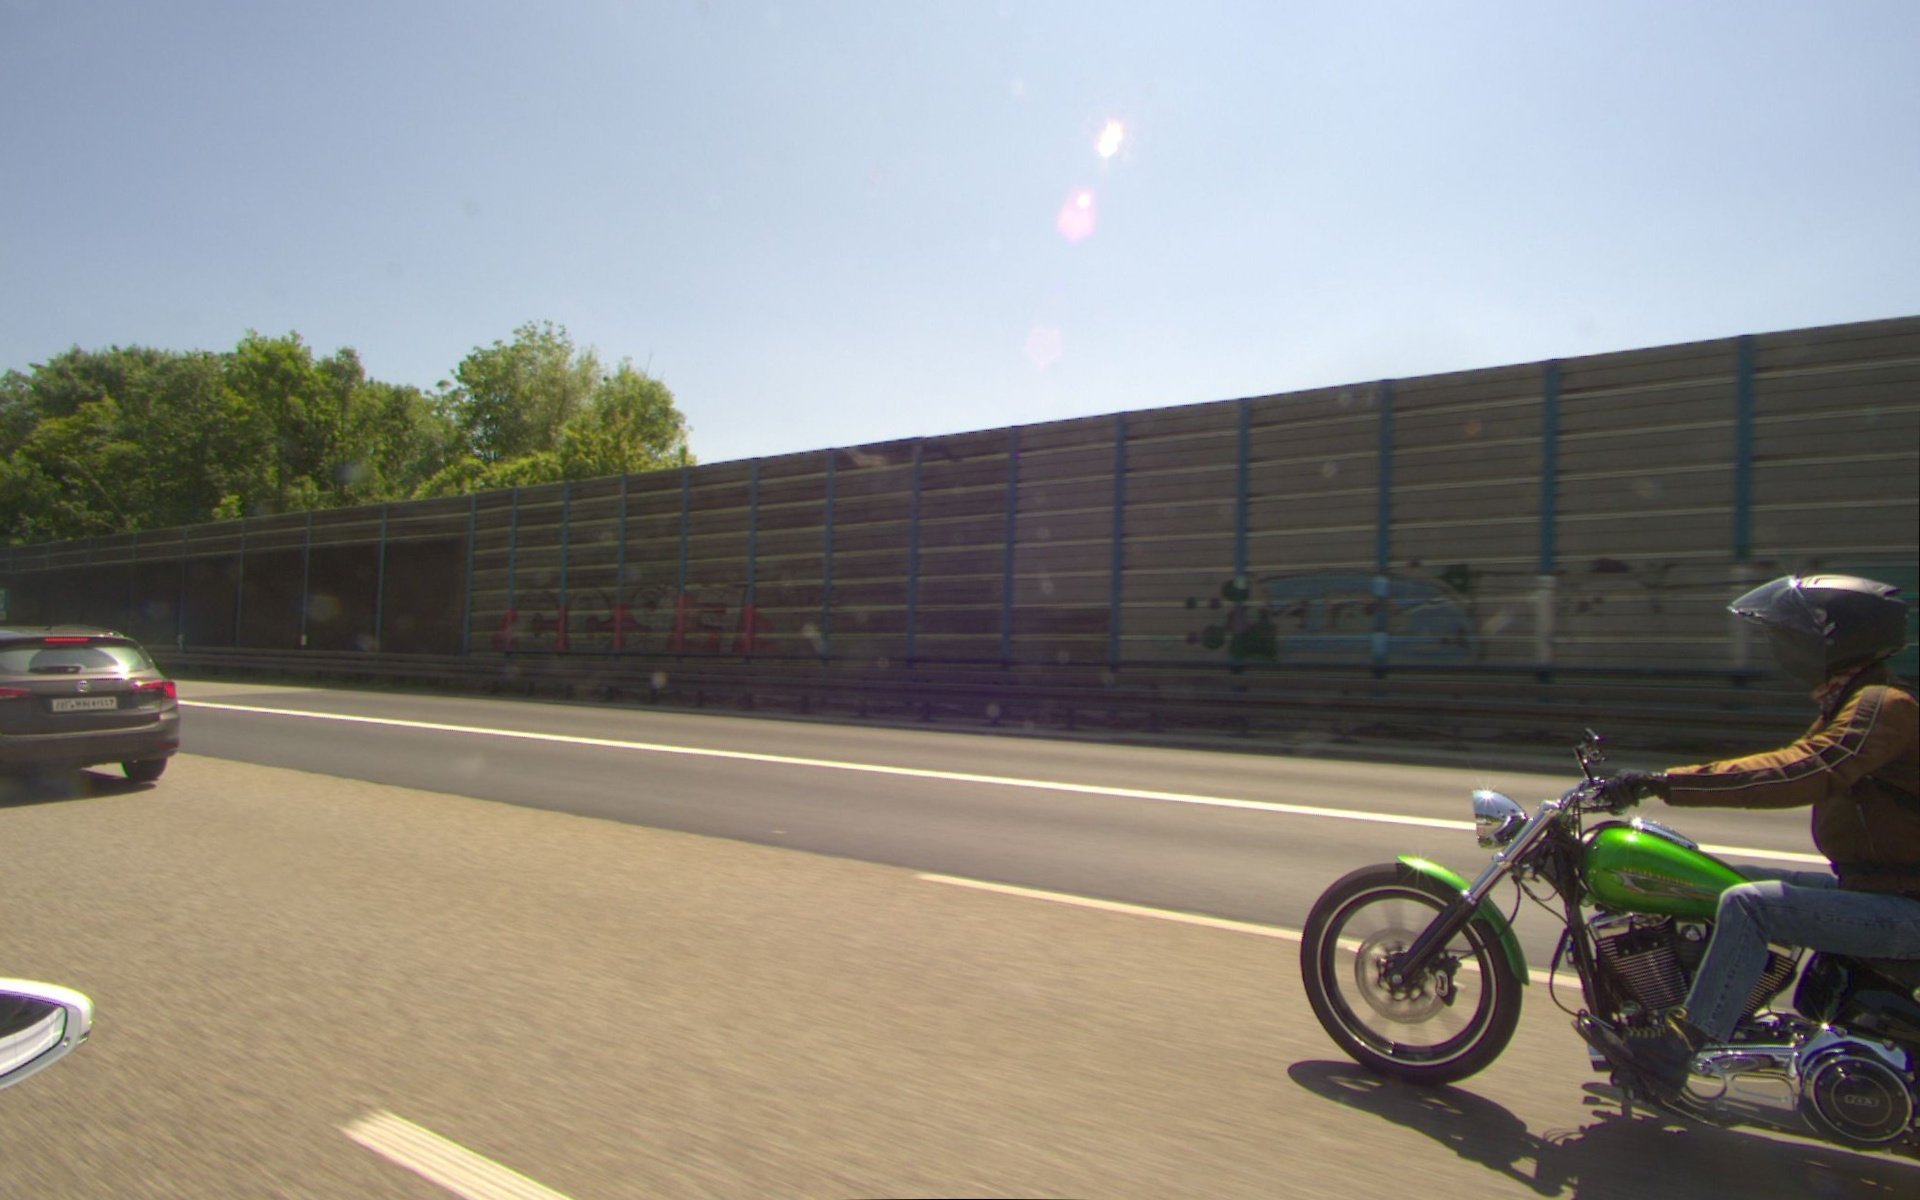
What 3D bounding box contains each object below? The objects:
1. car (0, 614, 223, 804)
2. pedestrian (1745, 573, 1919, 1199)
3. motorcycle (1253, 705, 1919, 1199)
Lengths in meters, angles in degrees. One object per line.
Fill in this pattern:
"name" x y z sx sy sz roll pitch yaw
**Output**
"car" -9.284 0.916 9.749 4.336 1.532 1.836 0 -2 31
"pedestrian" 2.510 0.699 2.641 0.629 1.498 0.849 0 -1 34
"motorcycle" 2.105 0.990 2.925 2.245 1.197 0.857 0 -1 35
